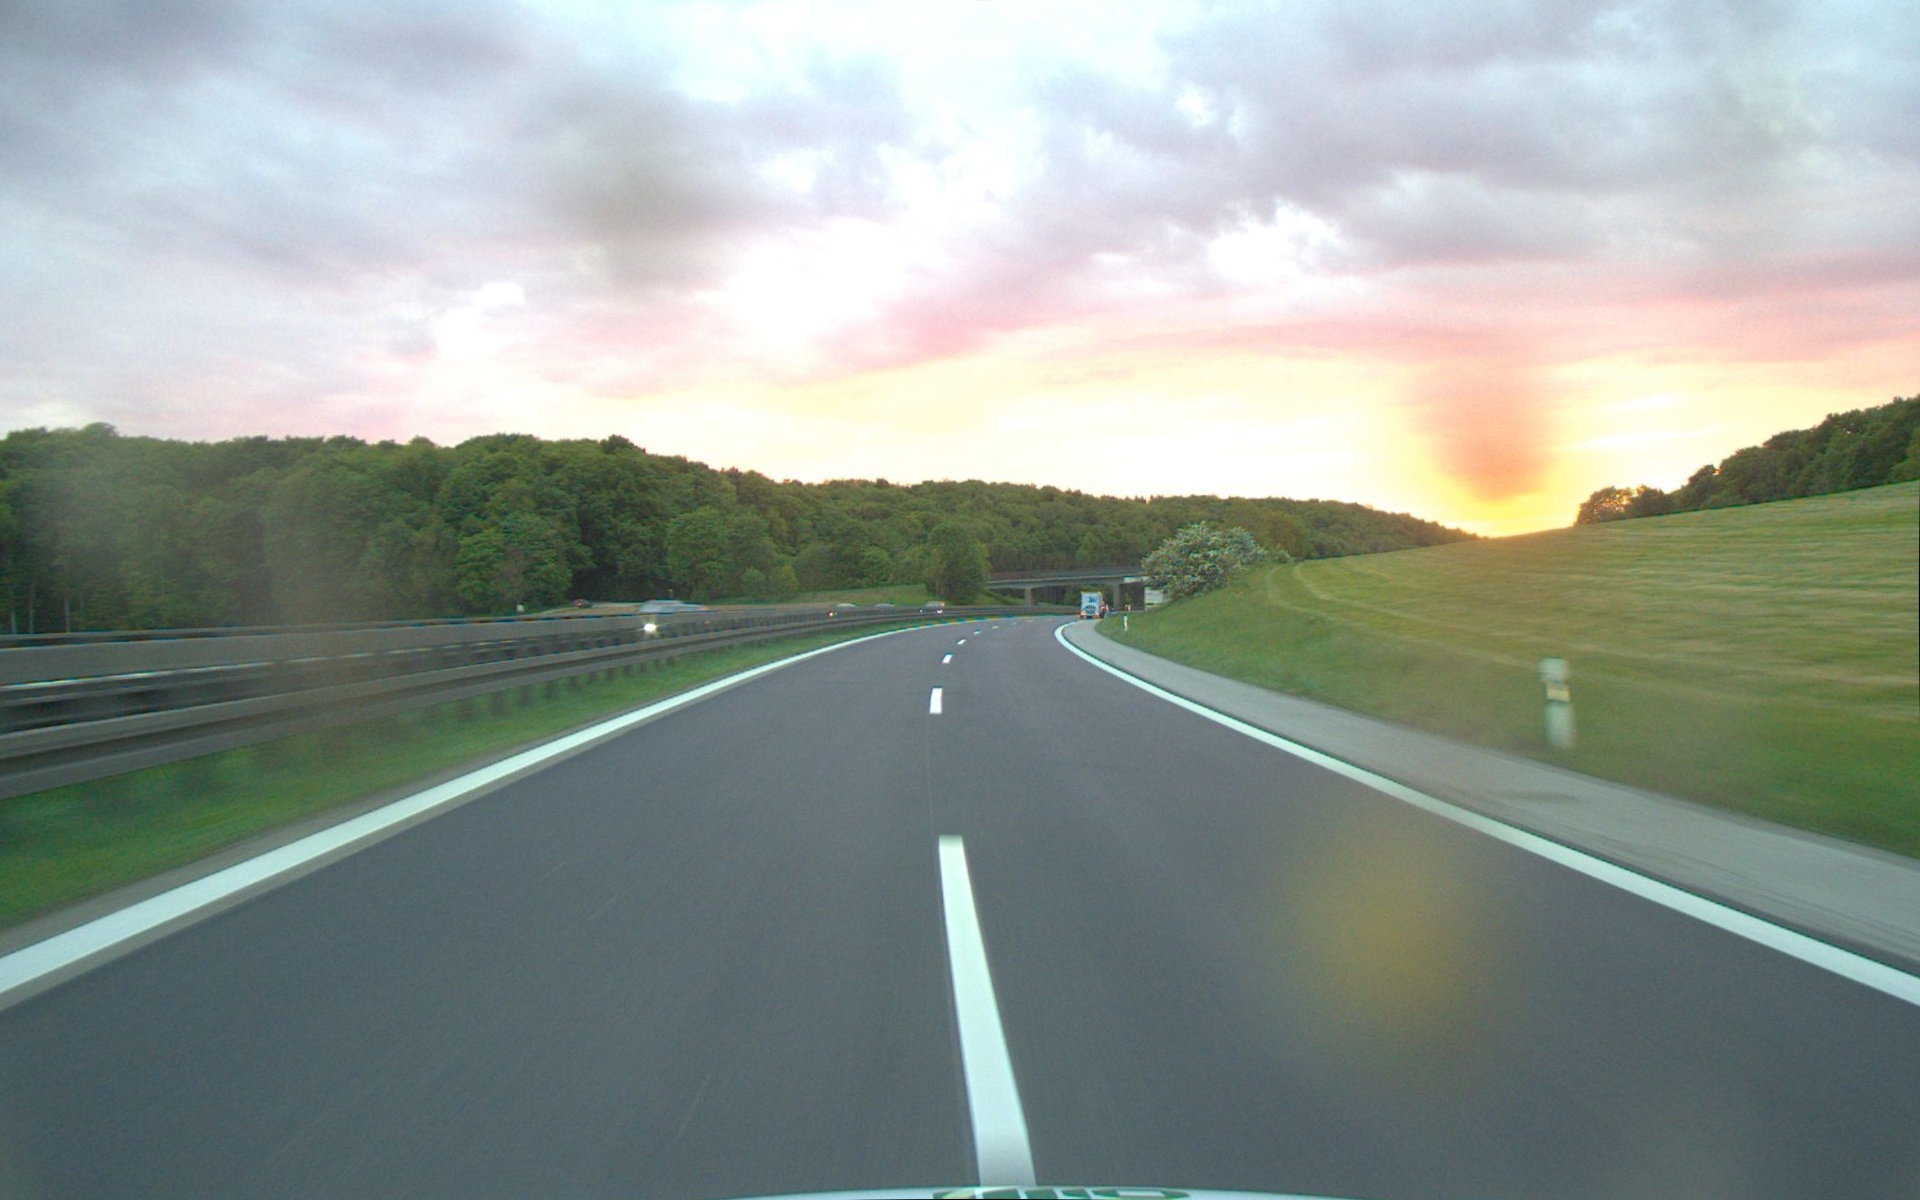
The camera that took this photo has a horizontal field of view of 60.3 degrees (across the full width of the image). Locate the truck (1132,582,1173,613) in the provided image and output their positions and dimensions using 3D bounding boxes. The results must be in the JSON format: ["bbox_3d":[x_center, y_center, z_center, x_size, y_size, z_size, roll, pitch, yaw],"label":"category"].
[{"bbox_3d":[27.982,-0.308,239.262,3.874,4.362,14.333,-1,-1,15],"label":"truck"}]

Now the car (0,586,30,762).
[{"bbox_3d":[-9.686,0.719,13.579,1.805,1.624,4.404,-2,0,-4],"label":"car"}]

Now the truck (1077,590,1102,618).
[{"bbox_3d":[13.311,0.389,169.594,2.227,2.711,5.240,-2,0,8],"label":"truck"}]

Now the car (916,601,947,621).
[{"bbox_3d":[-2.527,0.959,145.640,1.951,1.757,4.774,1,0,8],"label":"car"}]
